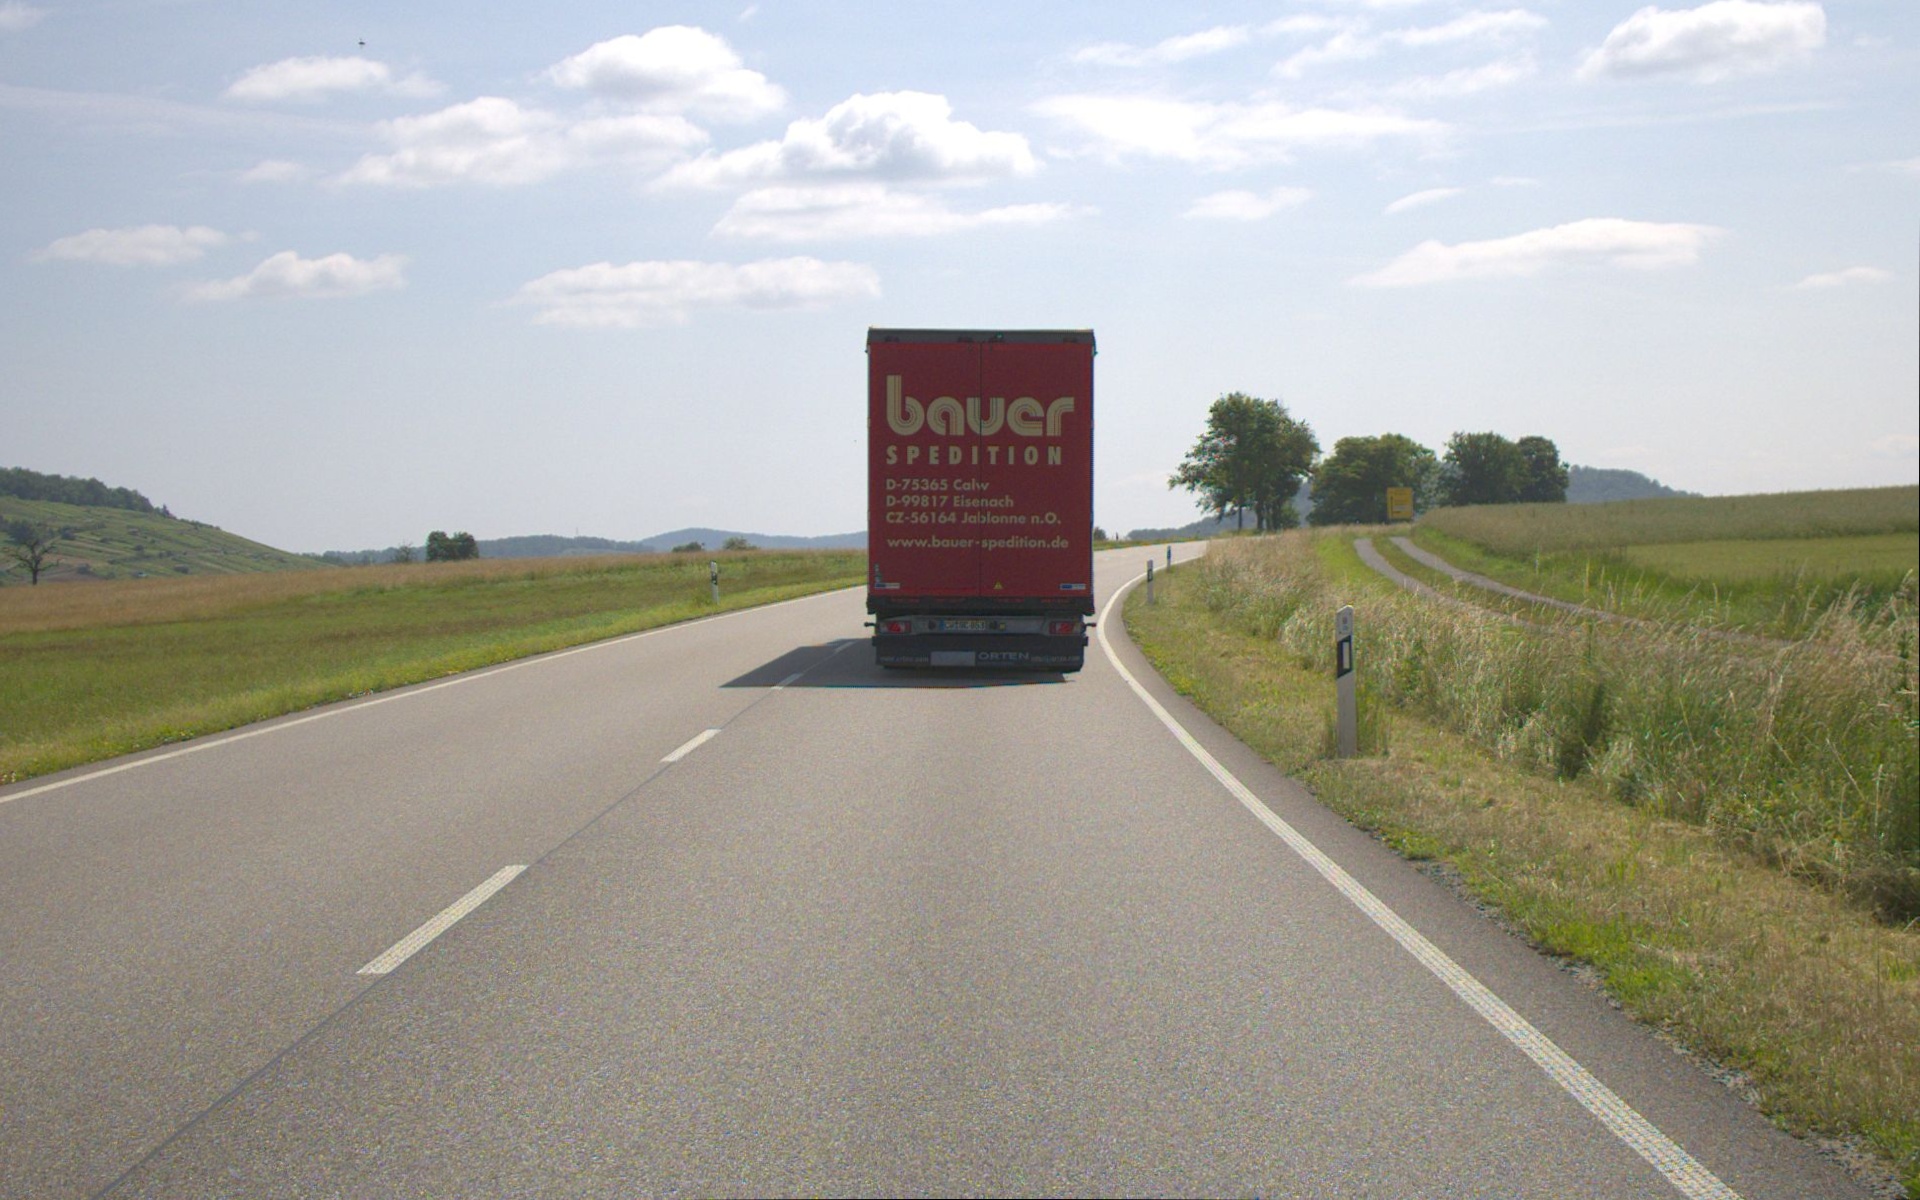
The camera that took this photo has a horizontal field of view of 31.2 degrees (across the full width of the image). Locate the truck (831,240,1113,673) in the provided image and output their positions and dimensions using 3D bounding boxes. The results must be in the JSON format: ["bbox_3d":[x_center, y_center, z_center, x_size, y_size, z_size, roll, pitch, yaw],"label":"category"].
[{"bbox_3d":[0.184,-1.670,42.696,2.975,4.697,9.366,2,1,1],"label":"truck"}]
